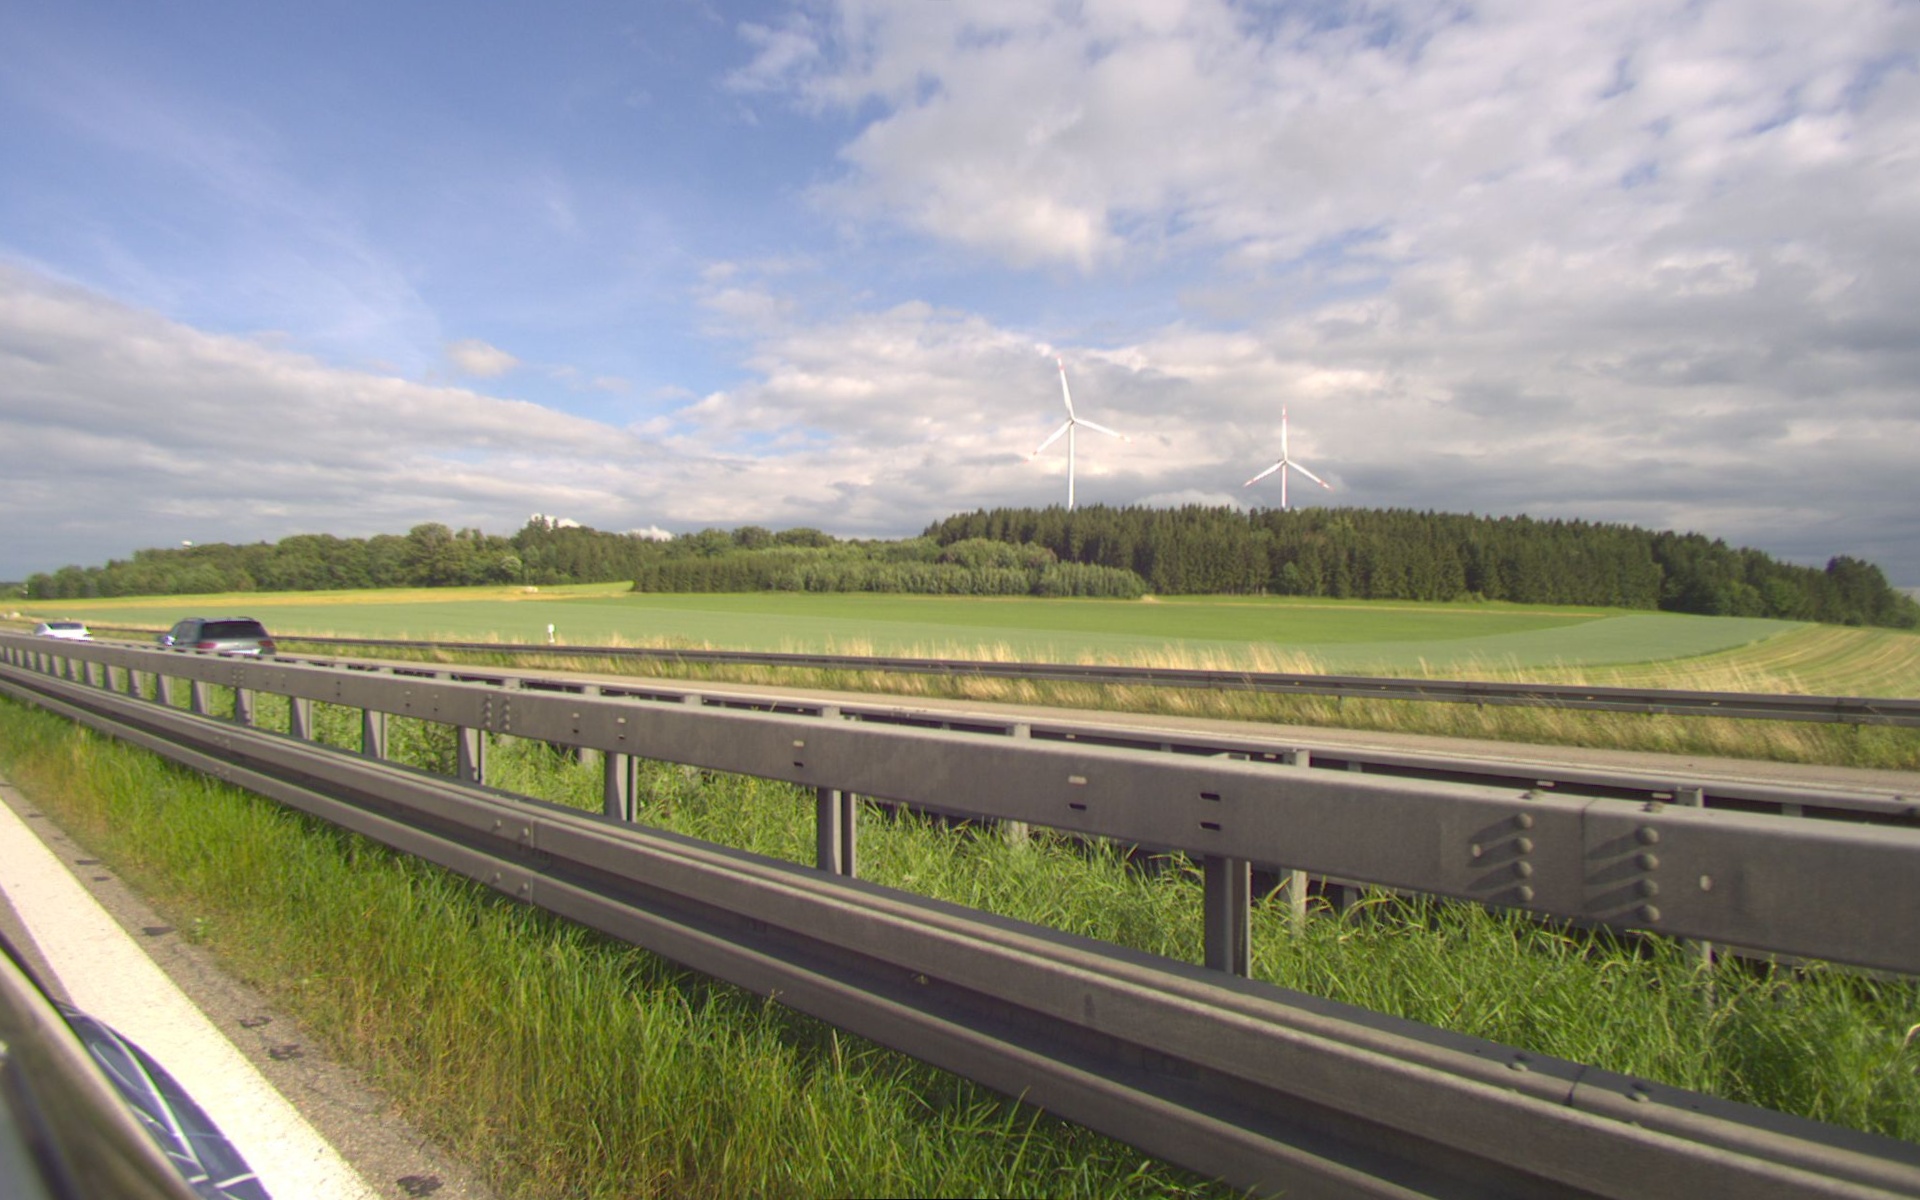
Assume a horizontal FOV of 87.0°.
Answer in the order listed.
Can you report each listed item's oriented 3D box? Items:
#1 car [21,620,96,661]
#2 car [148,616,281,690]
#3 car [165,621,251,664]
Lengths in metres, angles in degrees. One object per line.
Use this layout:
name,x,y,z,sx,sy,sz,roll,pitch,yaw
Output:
car,-36.932,1.621,41.420,4.477,1.532,1.731,0,0,41
car,-18.364,1.235,24.875,4.263,1.615,1.731,0,0,41
car,-29.055,1.605,39.069,4.477,1.490,1.731,0,0,41
